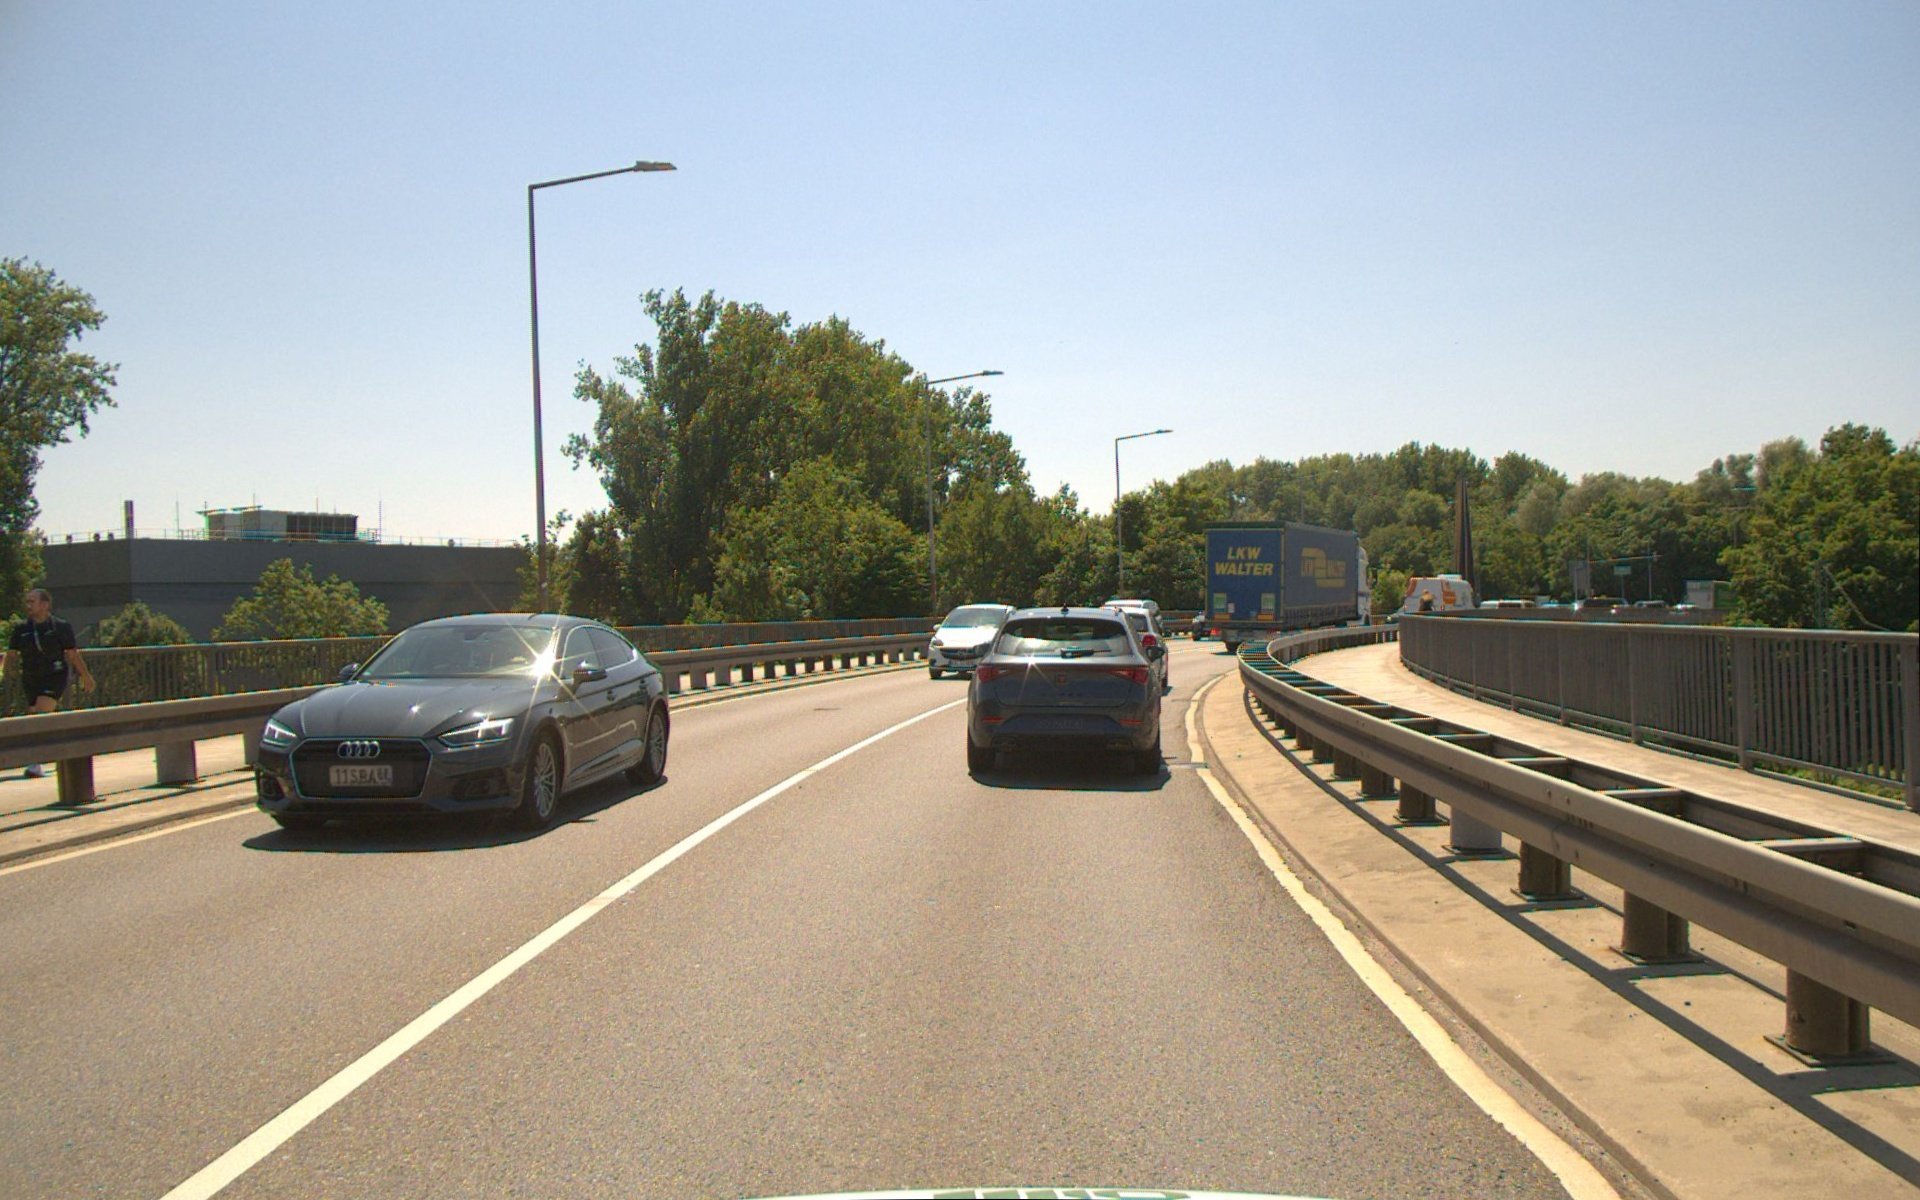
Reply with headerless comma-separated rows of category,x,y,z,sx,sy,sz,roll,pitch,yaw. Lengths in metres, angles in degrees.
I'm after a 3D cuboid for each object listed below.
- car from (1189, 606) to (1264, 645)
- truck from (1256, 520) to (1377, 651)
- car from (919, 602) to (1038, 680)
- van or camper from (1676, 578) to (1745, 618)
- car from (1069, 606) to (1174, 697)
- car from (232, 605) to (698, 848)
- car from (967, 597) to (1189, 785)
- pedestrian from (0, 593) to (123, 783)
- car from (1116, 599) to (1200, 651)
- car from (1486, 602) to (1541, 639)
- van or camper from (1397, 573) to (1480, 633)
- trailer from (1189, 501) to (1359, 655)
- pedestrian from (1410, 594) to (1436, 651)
car,10.860,1.040,67.122,1.849,1.523,4.312,-1,-1,26
truck,13.633,-0.450,62.760,3.106,4.665,7.393,0,-1,23
car,0.436,0.822,34.365,1.688,1.509,3.869,-1,-1,12
van or camper,54.076,-0.162,119.135,4.912,2.331,2.458,5,1,-40
car,2.915,0.878,29.351,1.559,1.487,3.547,1,-1,10
car,-3.369,0.805,12.299,1.751,1.440,4.577,-1,-1,5
car,0.988,0.739,15.423,1.807,1.525,3.758,0,0,1
pedestrian,-7.819,0.752,14.356,0.699,1.589,0.695,-2,-1,5
car,6.648,0.829,55.178,1.680,1.643,4.117,-1,-1,23
car,29.407,1.105,87.809,1.855,1.882,3.988,0,-1,33
van or camper,22.751,0.139,78.512,2.164,2.758,5.908,0,0,33
trailer,11.082,-0.581,56.914,3.070,4.695,12.943,1,-1,23
pedestrian,16.319,0.800,58.281,0.722,2.002,0.733,0,-1,27
